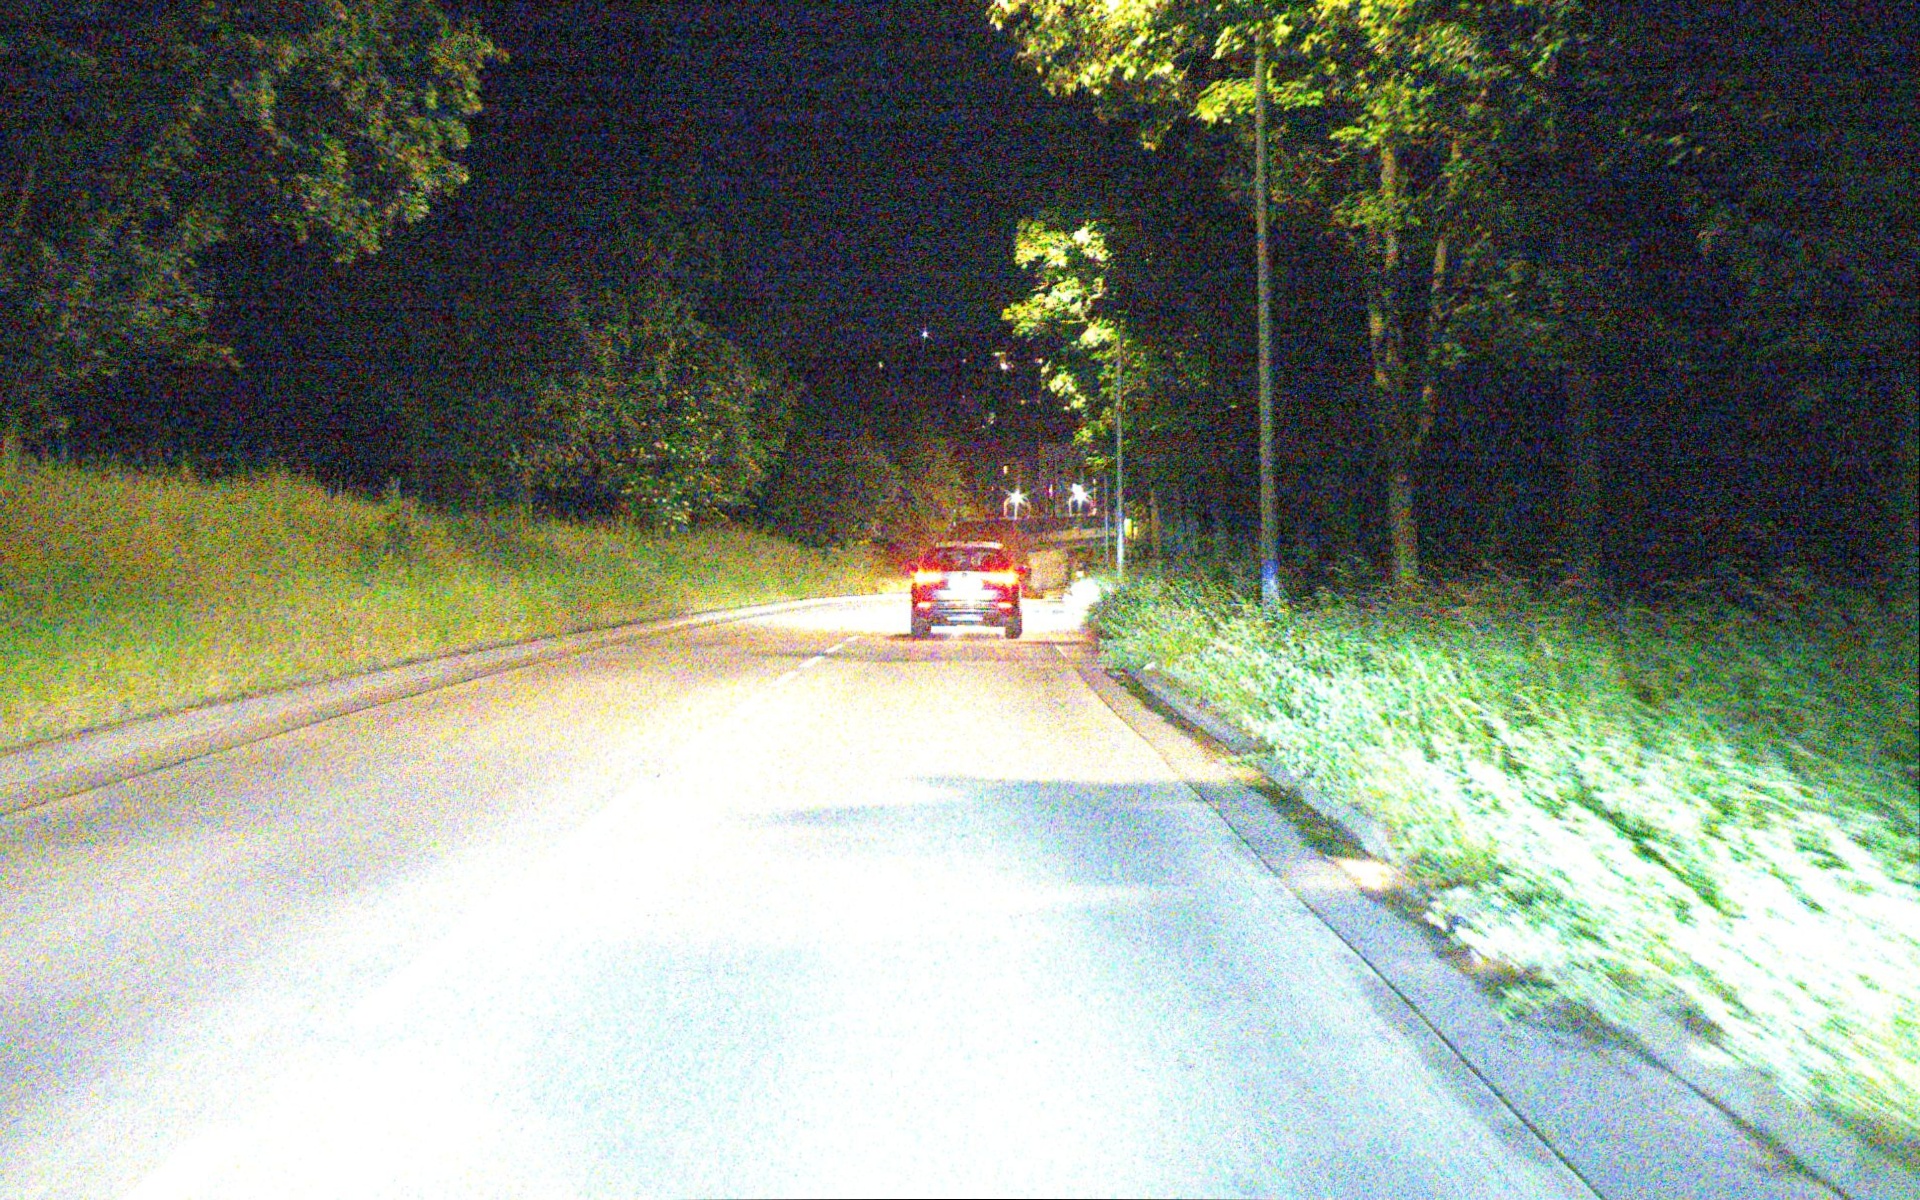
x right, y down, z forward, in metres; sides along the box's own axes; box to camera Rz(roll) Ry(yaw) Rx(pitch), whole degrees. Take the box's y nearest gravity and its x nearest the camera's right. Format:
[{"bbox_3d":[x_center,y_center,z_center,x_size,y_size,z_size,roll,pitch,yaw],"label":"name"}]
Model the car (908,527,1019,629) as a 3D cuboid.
[{"bbox_3d":[0.029,-0.376,57.429,1.763,1.636,3.723,1,1,-1],"label":"car"}]
